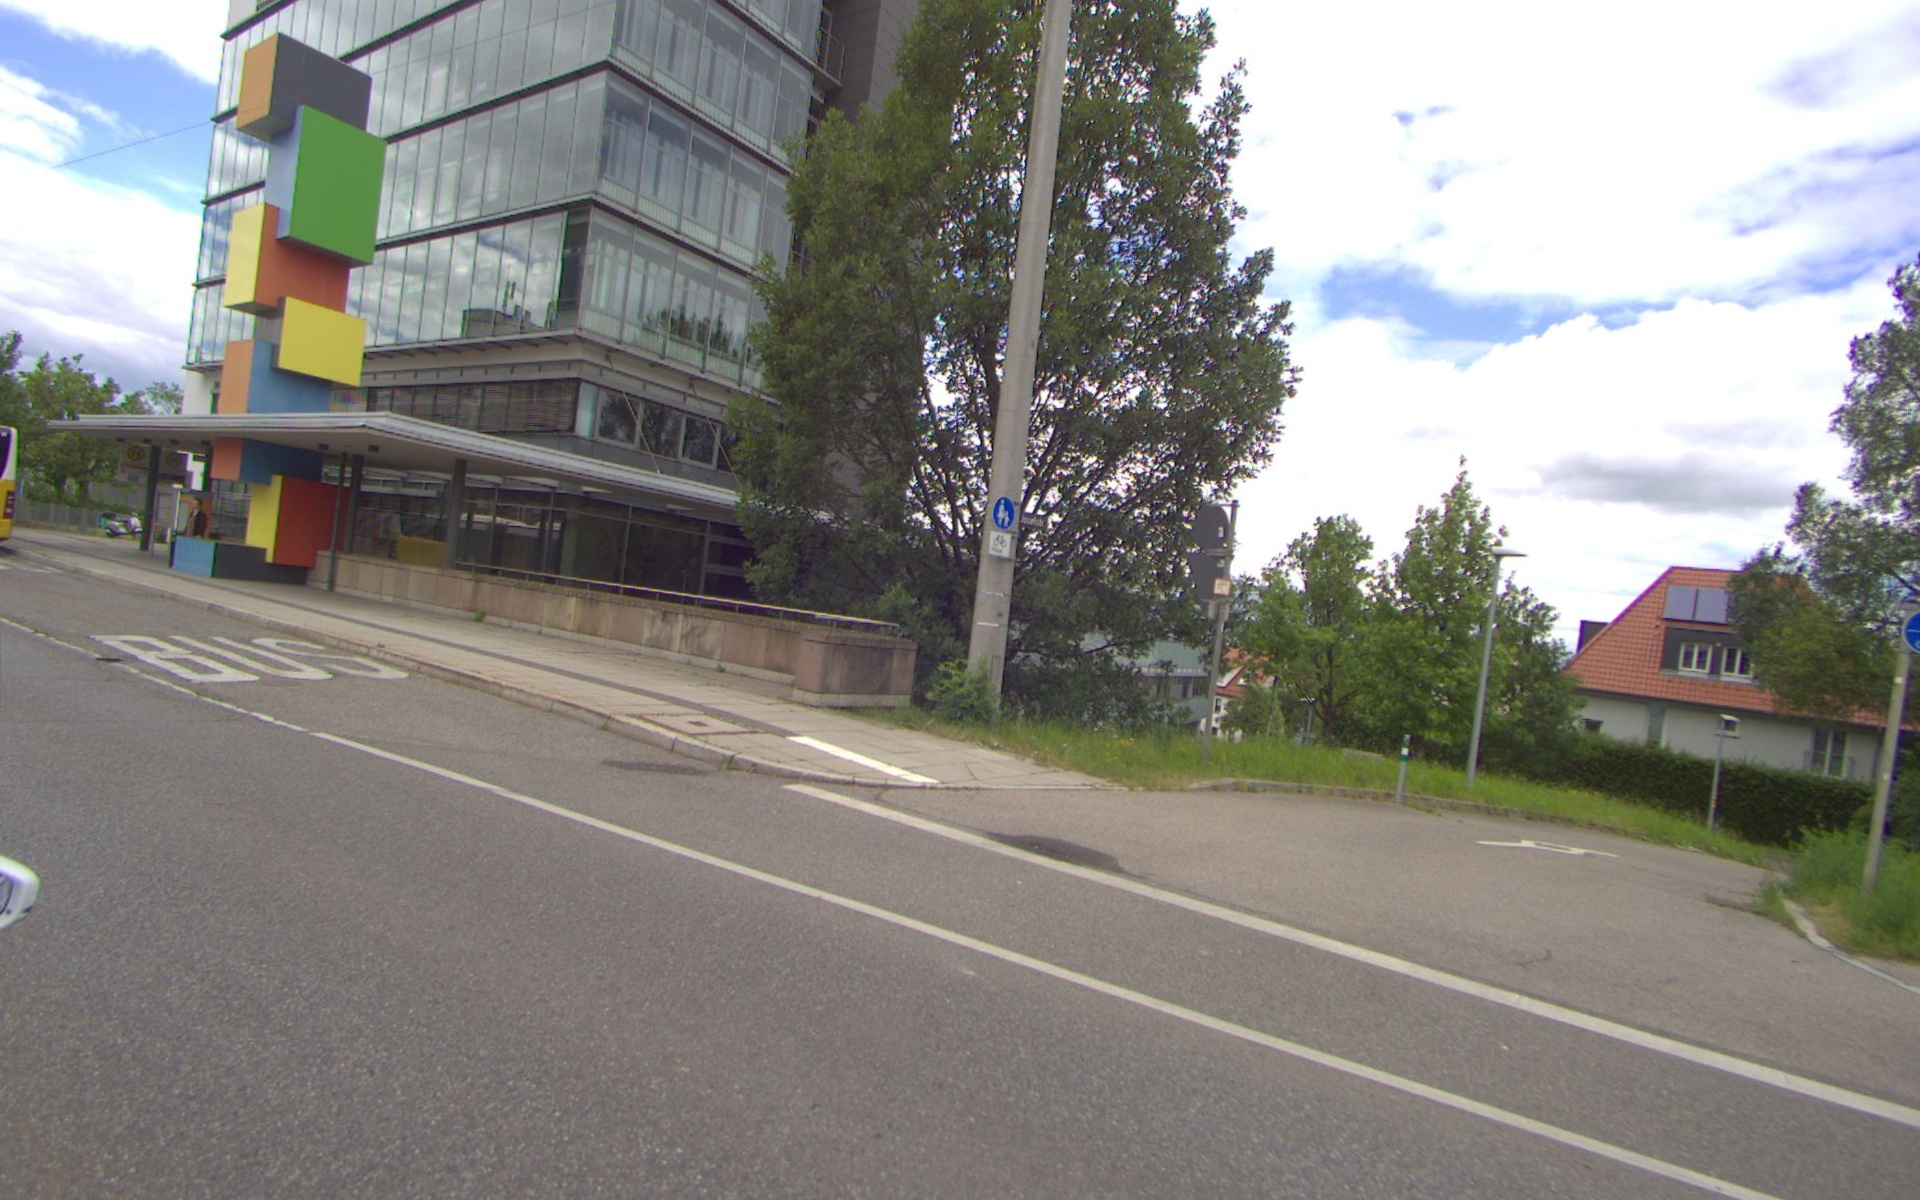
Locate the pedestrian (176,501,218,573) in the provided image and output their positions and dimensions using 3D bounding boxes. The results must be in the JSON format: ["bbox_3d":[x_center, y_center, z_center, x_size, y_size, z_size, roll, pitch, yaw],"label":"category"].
[{"bbox_3d":[-19.059,-1.565,25.122,0.722,1.693,0.524,7,0,37],"label":"pedestrian"}]

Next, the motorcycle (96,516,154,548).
[{"bbox_3d":[-34.803,-2.822,41.943,1.747,1.083,0.634,7,0,-3],"label":"motorcycle"}]

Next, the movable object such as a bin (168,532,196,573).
[{"bbox_3d":[-18.871,-1.152,24.406,0.455,0.908,0.356,7,0,37],"label":"movable object such as a bin"}]

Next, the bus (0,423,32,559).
[{"bbox_3d":[-26.943,-3.061,25.891,9.106,3.156,2.964,6,1,38],"label":"bus"}]
